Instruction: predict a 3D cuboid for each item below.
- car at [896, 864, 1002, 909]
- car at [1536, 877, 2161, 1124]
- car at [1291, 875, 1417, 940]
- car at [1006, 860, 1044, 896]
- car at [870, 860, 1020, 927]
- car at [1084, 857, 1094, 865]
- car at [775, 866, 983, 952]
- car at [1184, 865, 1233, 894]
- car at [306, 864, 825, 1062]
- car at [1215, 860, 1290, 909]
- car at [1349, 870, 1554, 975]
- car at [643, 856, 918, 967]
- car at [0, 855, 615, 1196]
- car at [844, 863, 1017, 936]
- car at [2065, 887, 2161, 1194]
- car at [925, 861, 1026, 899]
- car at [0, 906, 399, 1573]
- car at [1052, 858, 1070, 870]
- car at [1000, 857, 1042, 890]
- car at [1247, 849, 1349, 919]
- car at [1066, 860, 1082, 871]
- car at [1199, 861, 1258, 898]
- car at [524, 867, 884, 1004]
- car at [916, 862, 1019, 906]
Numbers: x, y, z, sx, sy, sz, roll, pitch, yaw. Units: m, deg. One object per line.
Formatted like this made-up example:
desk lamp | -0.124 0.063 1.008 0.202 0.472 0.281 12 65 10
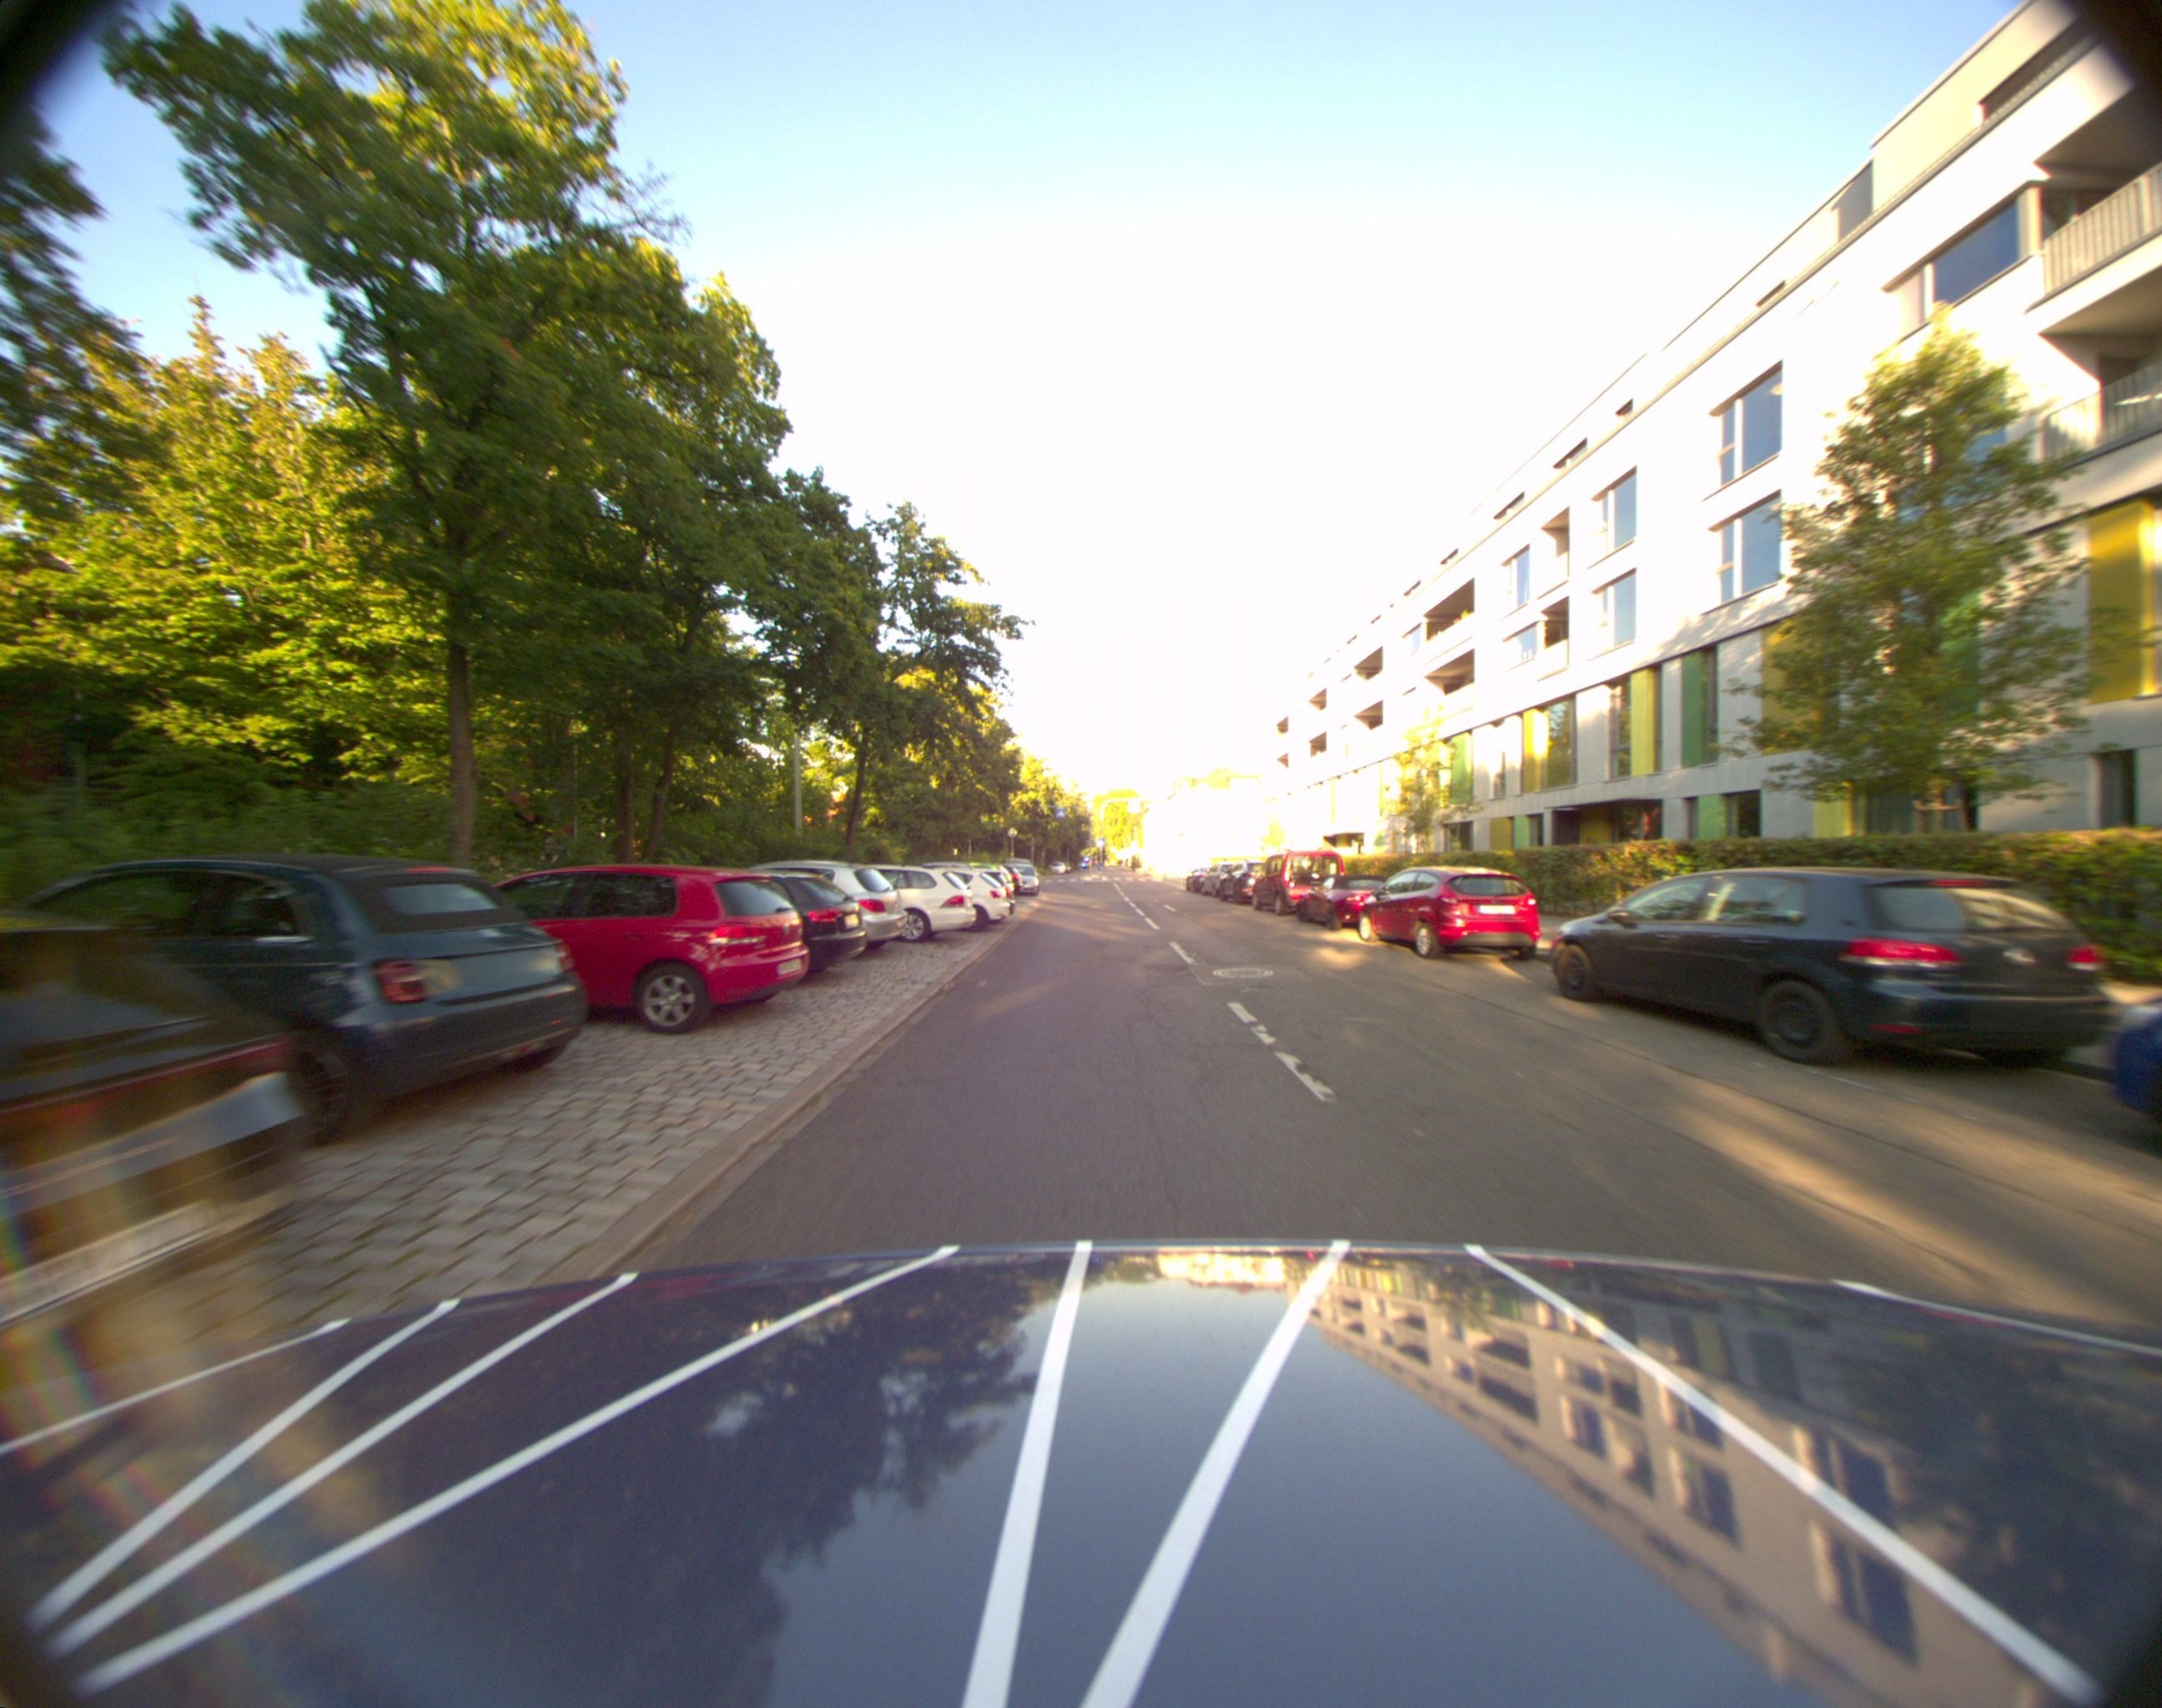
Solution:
car | -4.590 1.126 26.685 3.393 1.516 1.672 0 0 1
car | 6.071 0.982 6.795 1.602 1.446 4.055 1 -1 1
car | 6.206 1.165 17.686 1.560 1.272 3.733 1 -1 0
car | -2.664 1.098 35.918 1.655 1.558 4.300 0 -1 -5
car | -3.532 1.009 20.158 3.619 1.516 1.671 3 0 -1
car | 2.018 1.810 192.823 2.228 2.002 4.891 -1 0 2
car | -3.887 1.051 15.091 3.676 1.543 1.735 -1 0 -1
car | 6.371 1.248 38.412 1.746 1.348 4.396 0 0 1
car | -4.730 0.946 7.391 3.817 1.466 1.756 3 1 1
car | 6.247 1.072 28.155 1.746 1.666 4.416 1 -1 0
car | 6.093 1.043 13.022 1.602 1.446 3.861 0 0 0
car | -4.794 0.874 12.513 3.734 1.490 1.820 3 1 1
car | -5.355 0.836 4.666 3.816 1.466 1.832 3 0 2
car | -3.425 1.027 17.840 3.676 1.436 1.735 3 0 -1
car | 6.063 0.919 2.198 1.602 1.499 3.788 1 -1 3
car | -4.339 1.061 31.641 3.959 1.503 1.739 0 0 0
car | -4.611 0.899 1.870 4.131 1.466 1.831 2 0 -1
car | -2.470 1.206 93.203 1.752 1.478 4.177 -1 0 4
car | -3.377 1.029 42.031 1.928 1.738 4.662 0 0 -9
car | 6.344 0.836 22.705 1.812 1.878 4.238 1 -1 0
car | -0.885 1.470 99.824 1.752 1.478 4.510 0 0 3
car | 6.496 1.099 33.865 1.746 1.524 4.115 -1 0 -1
car | -4.703 0.983 9.883 3.758 1.387 1.756 3 1 1
car | -4.287 1.139 29.158 3.636 1.531 1.671 -1 0 1
